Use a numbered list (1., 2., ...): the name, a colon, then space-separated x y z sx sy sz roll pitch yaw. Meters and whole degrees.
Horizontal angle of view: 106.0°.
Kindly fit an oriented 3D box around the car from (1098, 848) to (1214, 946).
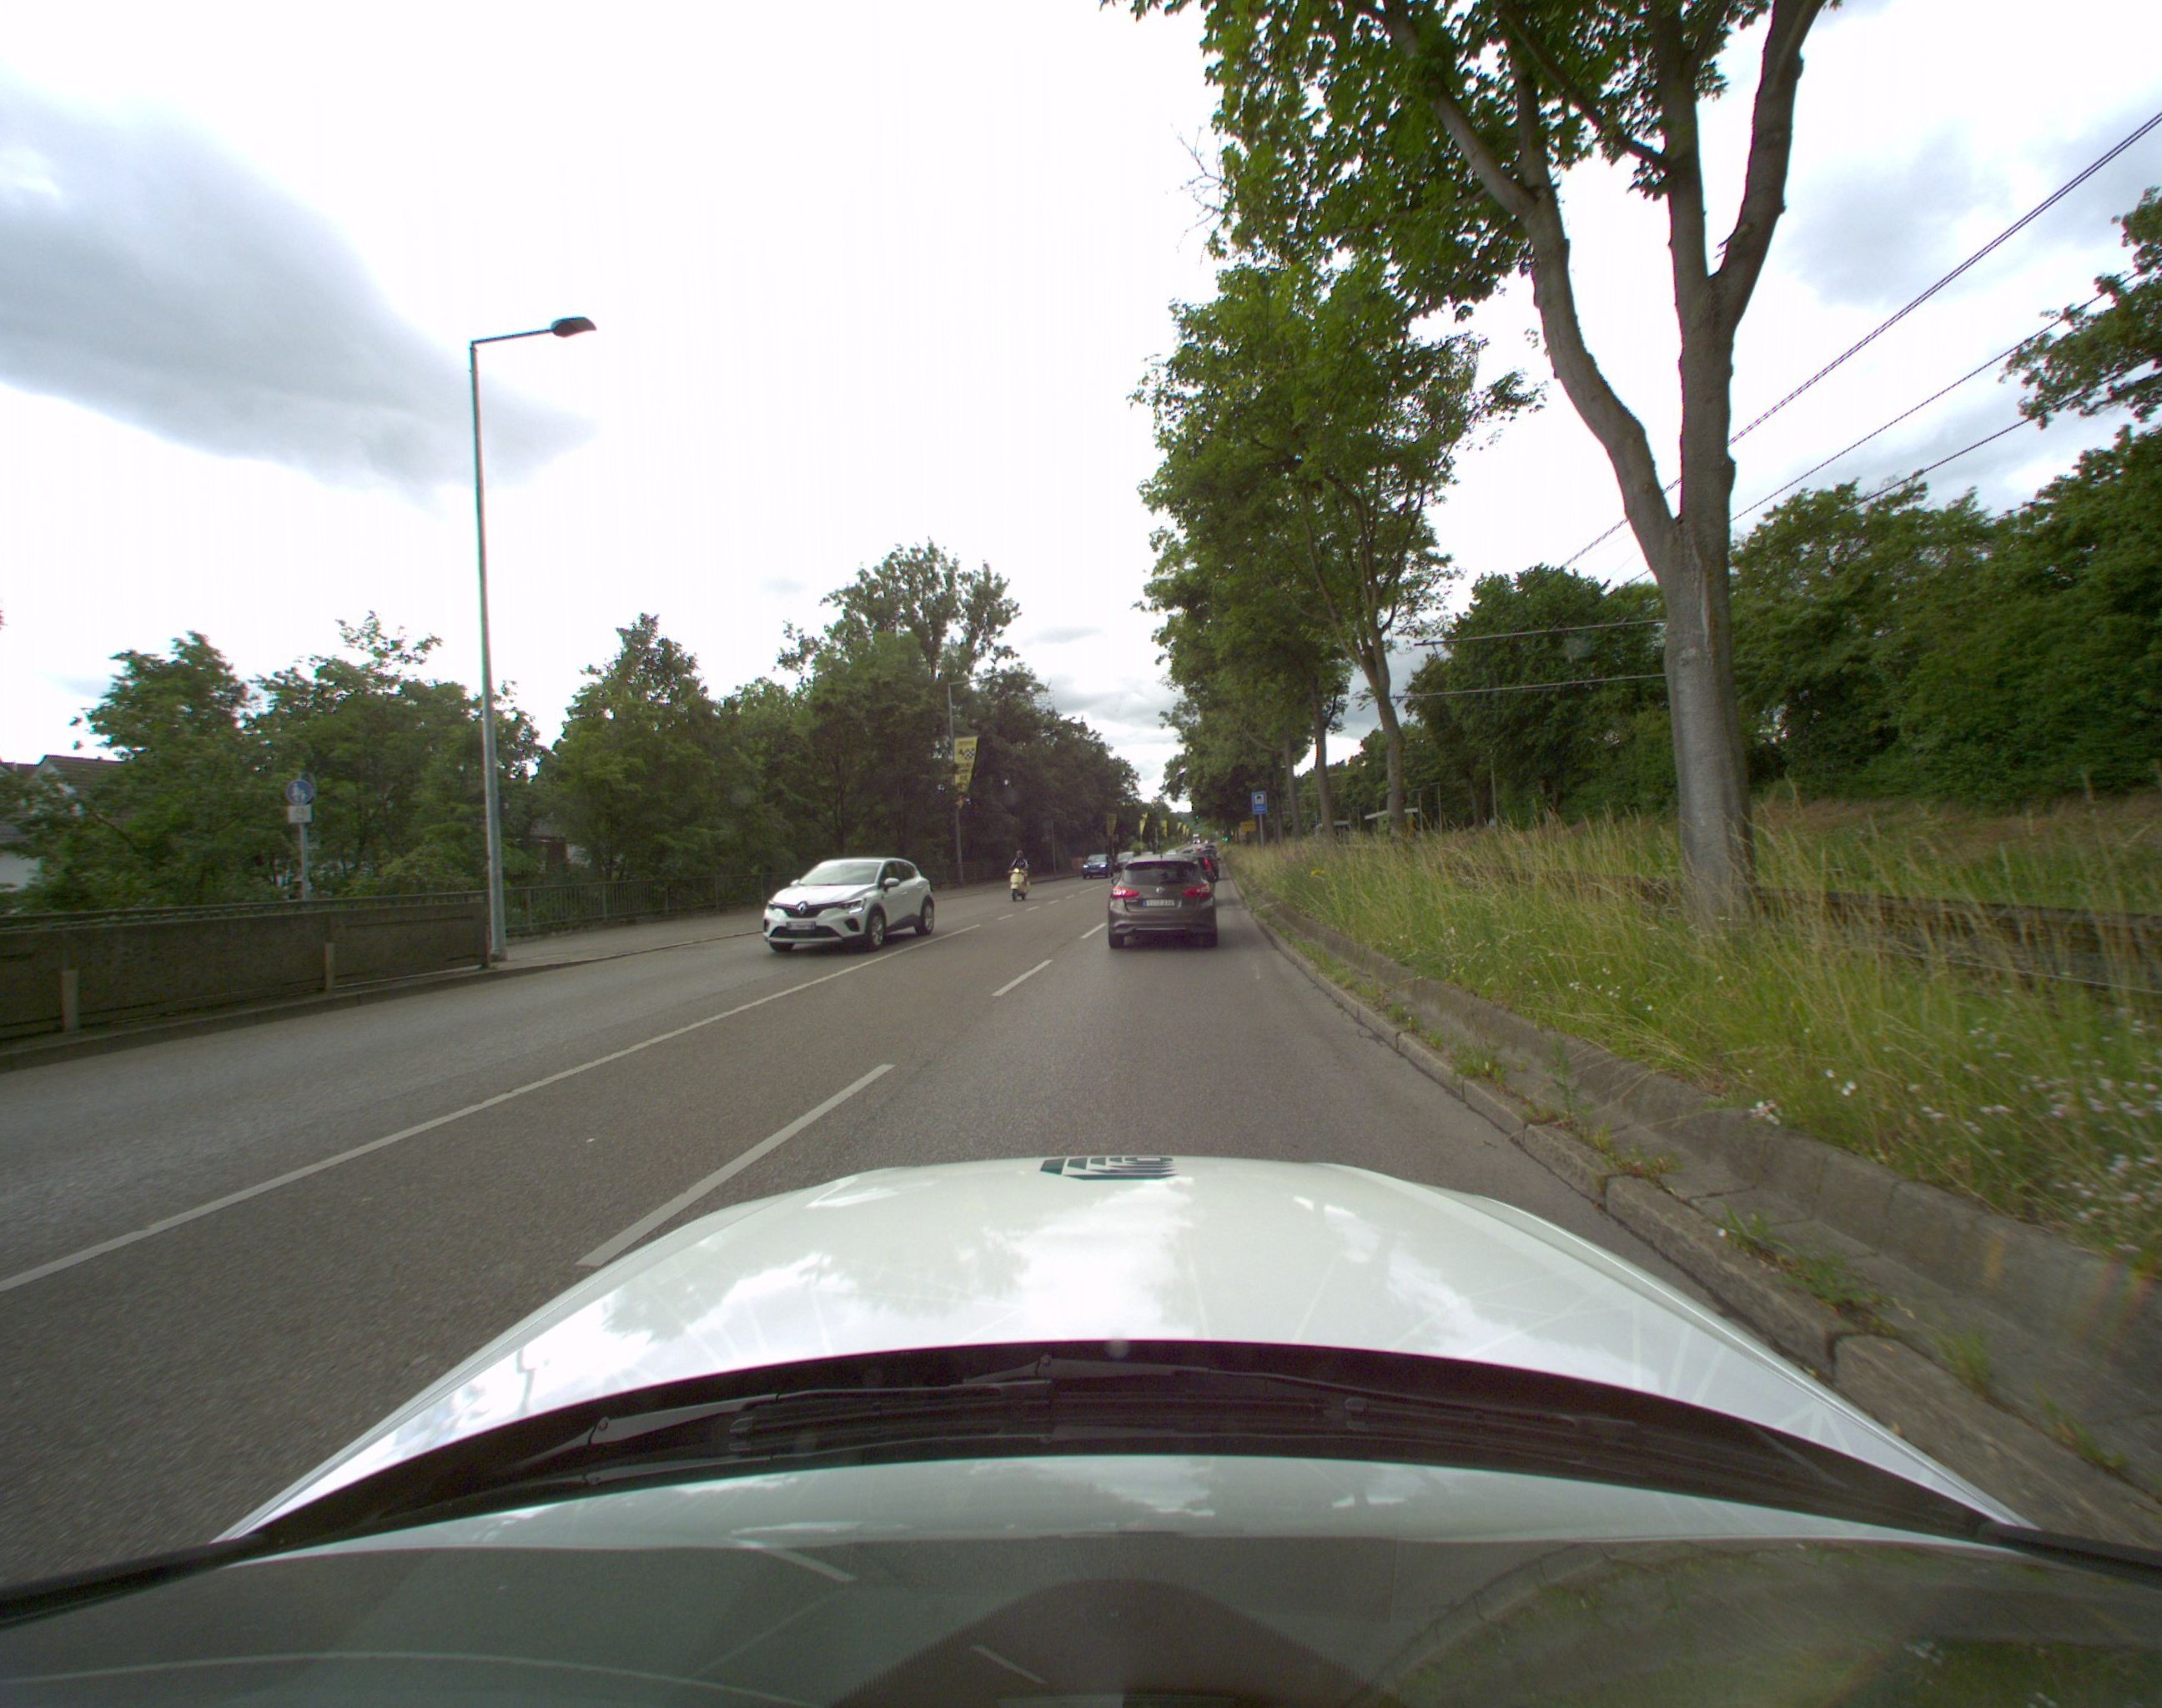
1. car: 1.333 0.710 14.596 1.766 1.494 4.005 -1 -1 5

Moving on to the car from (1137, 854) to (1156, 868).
1. car: 7.336 0.828 90.947 1.742 1.420 4.009 -3 -2 8

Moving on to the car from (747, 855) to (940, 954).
1. car: -4.041 0.796 14.622 1.757 1.479 4.010 -2 0 8

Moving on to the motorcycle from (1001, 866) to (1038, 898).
1. motorcycle: -2.087 0.942 27.908 0.740 1.033 1.894 -2 0 11

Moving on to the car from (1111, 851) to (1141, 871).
1. car: 3.586 0.554 64.405 1.806 1.462 4.011 -3 0 10

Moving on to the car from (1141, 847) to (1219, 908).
1. car: 2.757 0.660 23.511 1.885 1.574 4.002 -2 -1 2

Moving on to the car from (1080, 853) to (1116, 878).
1. car: 1.106 0.756 51.766 1.711 1.442 4.009 -3 -2 9

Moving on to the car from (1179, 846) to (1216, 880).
1. car: 5.836 0.467 41.033 1.570 1.538 4.006 -3 -1 5

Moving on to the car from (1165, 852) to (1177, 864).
1. car: 14.139 0.637 127.680 1.708 1.693 3.734 -3 -2 8

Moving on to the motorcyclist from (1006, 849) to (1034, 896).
1. motorcyclist: -2.092 0.625 27.949 0.740 1.539 0.793 -2 0 10

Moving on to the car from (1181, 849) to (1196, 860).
1. car: 14.851 0.094 112.282 1.840 1.486 4.433 -3 -1 10

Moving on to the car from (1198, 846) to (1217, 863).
1. car: 12.668 0.072 81.661 1.794 1.540 4.011 -1 -1 10

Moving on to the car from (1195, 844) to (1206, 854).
1. car: 20.805 -0.856 141.566 1.708 1.401 3.734 -3 -2 8

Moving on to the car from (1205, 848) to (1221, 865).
1. car: 15.271 0.304 94.410 1.708 1.693 4.009 -3 -2 8
